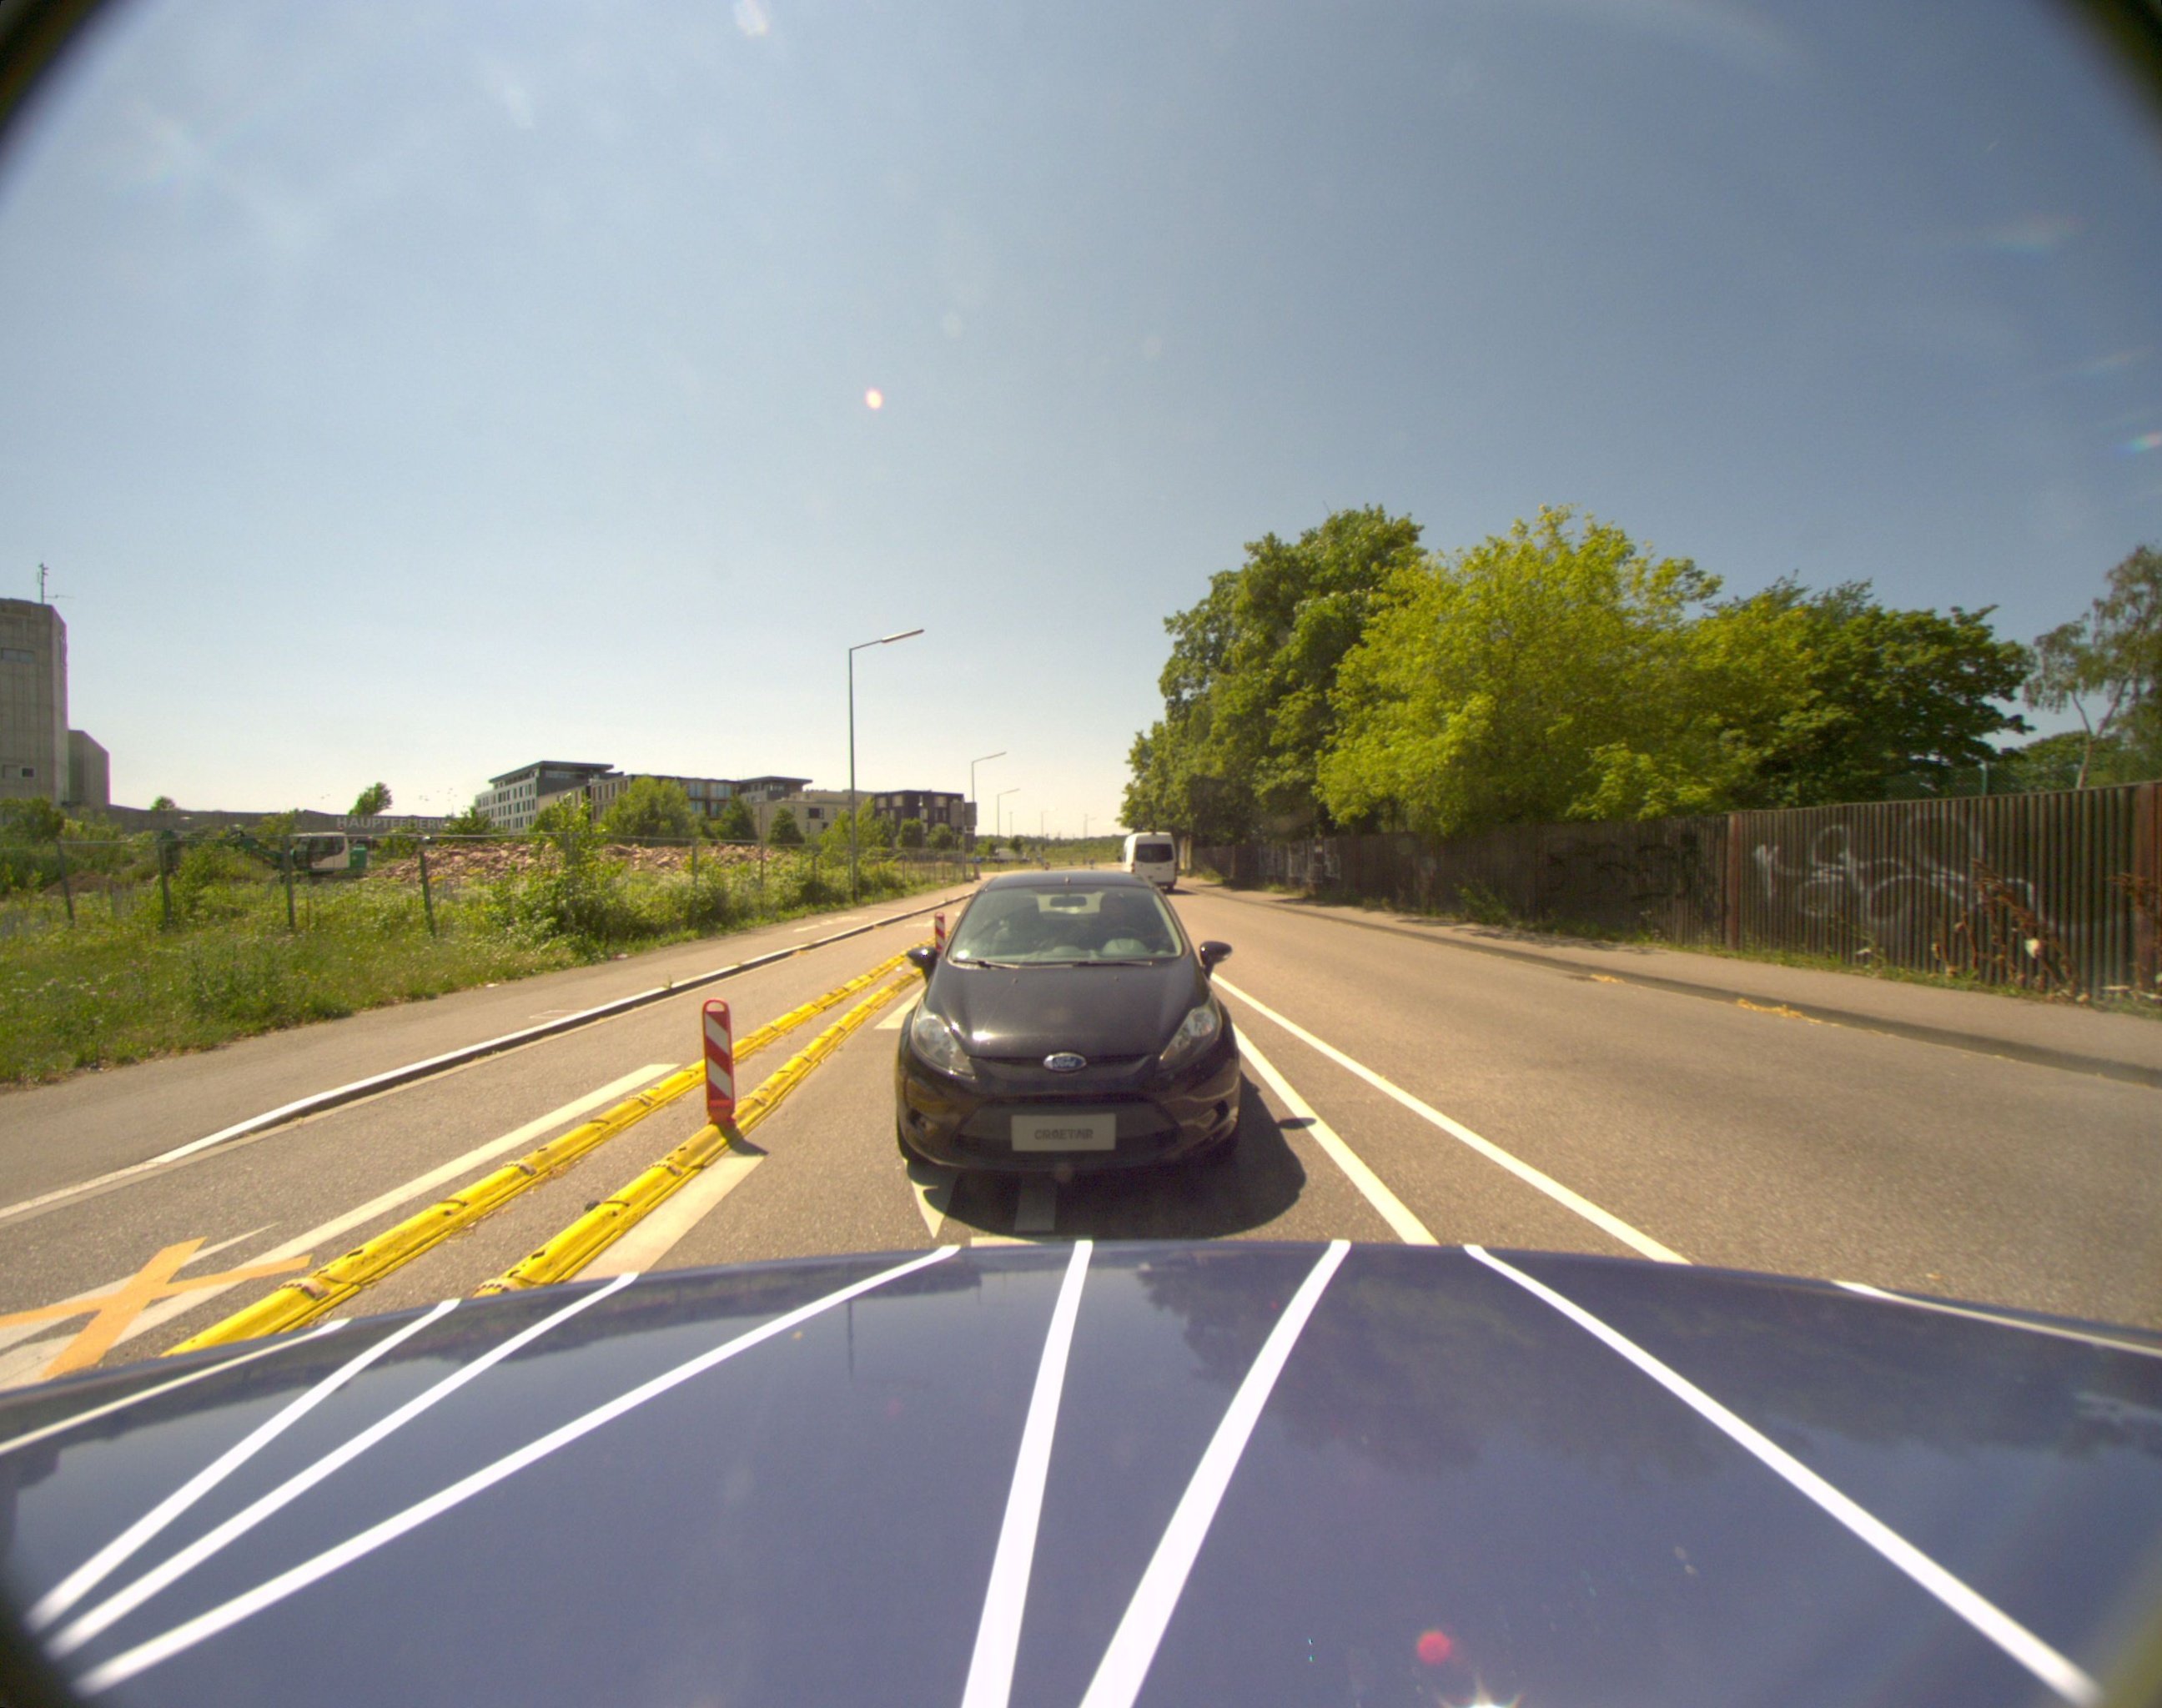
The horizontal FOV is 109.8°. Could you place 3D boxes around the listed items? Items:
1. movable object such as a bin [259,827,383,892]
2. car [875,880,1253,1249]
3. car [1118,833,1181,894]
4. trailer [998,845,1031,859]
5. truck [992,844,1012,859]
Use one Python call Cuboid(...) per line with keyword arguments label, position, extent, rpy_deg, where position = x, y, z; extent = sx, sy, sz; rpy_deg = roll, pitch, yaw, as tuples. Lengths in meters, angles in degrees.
Cuboid(label="movable object such as a bin", position=(-37.636, 0.240, 37.774), extent=(2.204, 3.045, 3.690), rpy_deg=(-1, 1, 6))
Cuboid(label="car", position=(-0.051, 0.985, 5.297), extent=(1.602, 1.422, 4.000), rpy_deg=(-2, 0, 1))
Cuboid(label="car", position=(3.026, 0.387, 35.014), extent=(2.025, 2.524, 6.826), rpy_deg=(0, 0, -2))
Cuboid(label="trailer", position=(-15.132, -0.479, 174.438), extent=(8.194, 3.329, 1.994), rpy_deg=(0, 0, -45))
Cuboid(label="truck", position=(-17.889, -0.482, 171.698), extent=(4.008, 3.316, 1.994), rpy_deg=(-1, 0, -45))
